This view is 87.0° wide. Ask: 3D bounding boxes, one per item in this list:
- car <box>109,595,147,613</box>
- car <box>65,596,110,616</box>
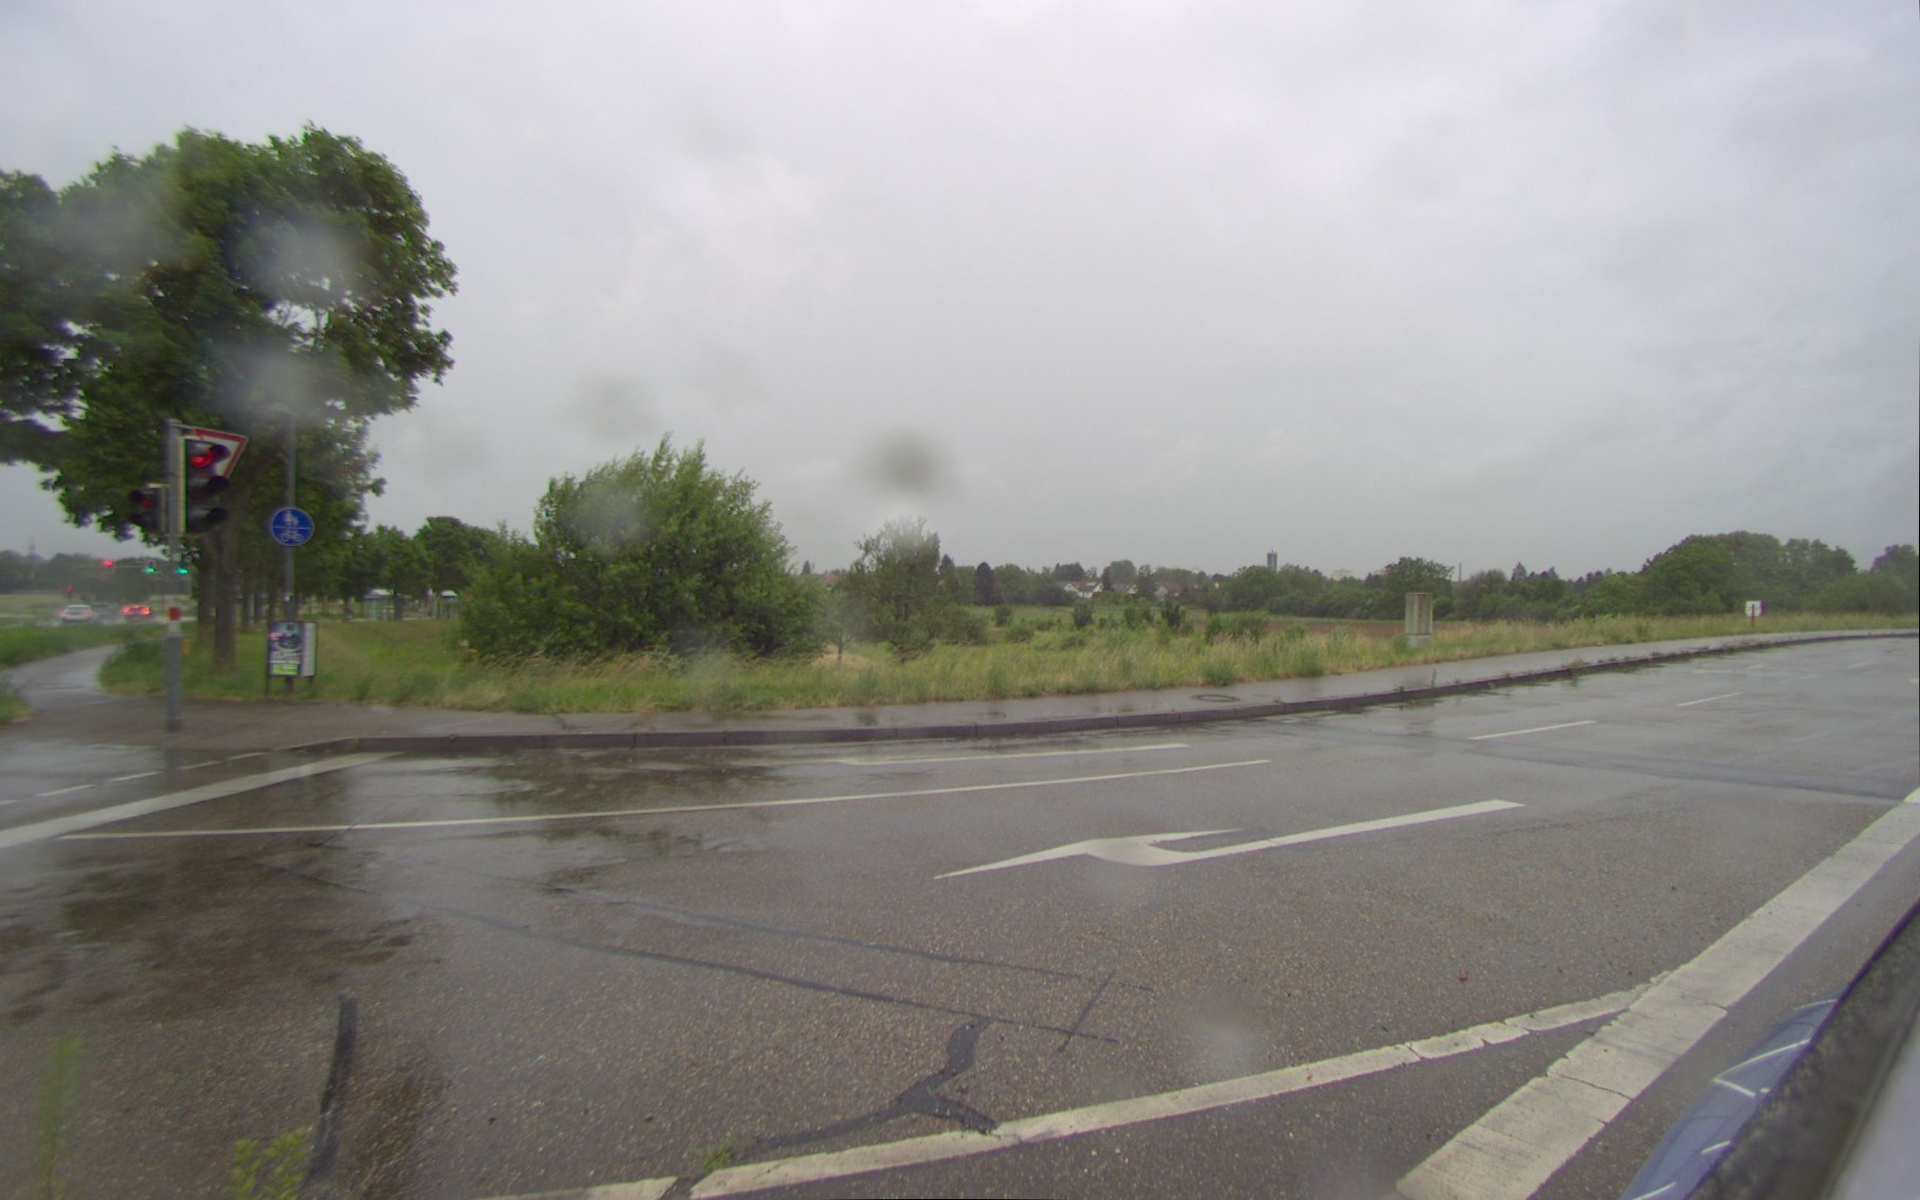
[{"bbox_3d":[-68.705,0.336,83.627,1.843,1.371,4.055,0,1,-32],"label":"car"},{"bbox_3d":[-62.670,0.396,72.737,1.843,1.371,4.055,0,1,-32],"label":"car"}]
